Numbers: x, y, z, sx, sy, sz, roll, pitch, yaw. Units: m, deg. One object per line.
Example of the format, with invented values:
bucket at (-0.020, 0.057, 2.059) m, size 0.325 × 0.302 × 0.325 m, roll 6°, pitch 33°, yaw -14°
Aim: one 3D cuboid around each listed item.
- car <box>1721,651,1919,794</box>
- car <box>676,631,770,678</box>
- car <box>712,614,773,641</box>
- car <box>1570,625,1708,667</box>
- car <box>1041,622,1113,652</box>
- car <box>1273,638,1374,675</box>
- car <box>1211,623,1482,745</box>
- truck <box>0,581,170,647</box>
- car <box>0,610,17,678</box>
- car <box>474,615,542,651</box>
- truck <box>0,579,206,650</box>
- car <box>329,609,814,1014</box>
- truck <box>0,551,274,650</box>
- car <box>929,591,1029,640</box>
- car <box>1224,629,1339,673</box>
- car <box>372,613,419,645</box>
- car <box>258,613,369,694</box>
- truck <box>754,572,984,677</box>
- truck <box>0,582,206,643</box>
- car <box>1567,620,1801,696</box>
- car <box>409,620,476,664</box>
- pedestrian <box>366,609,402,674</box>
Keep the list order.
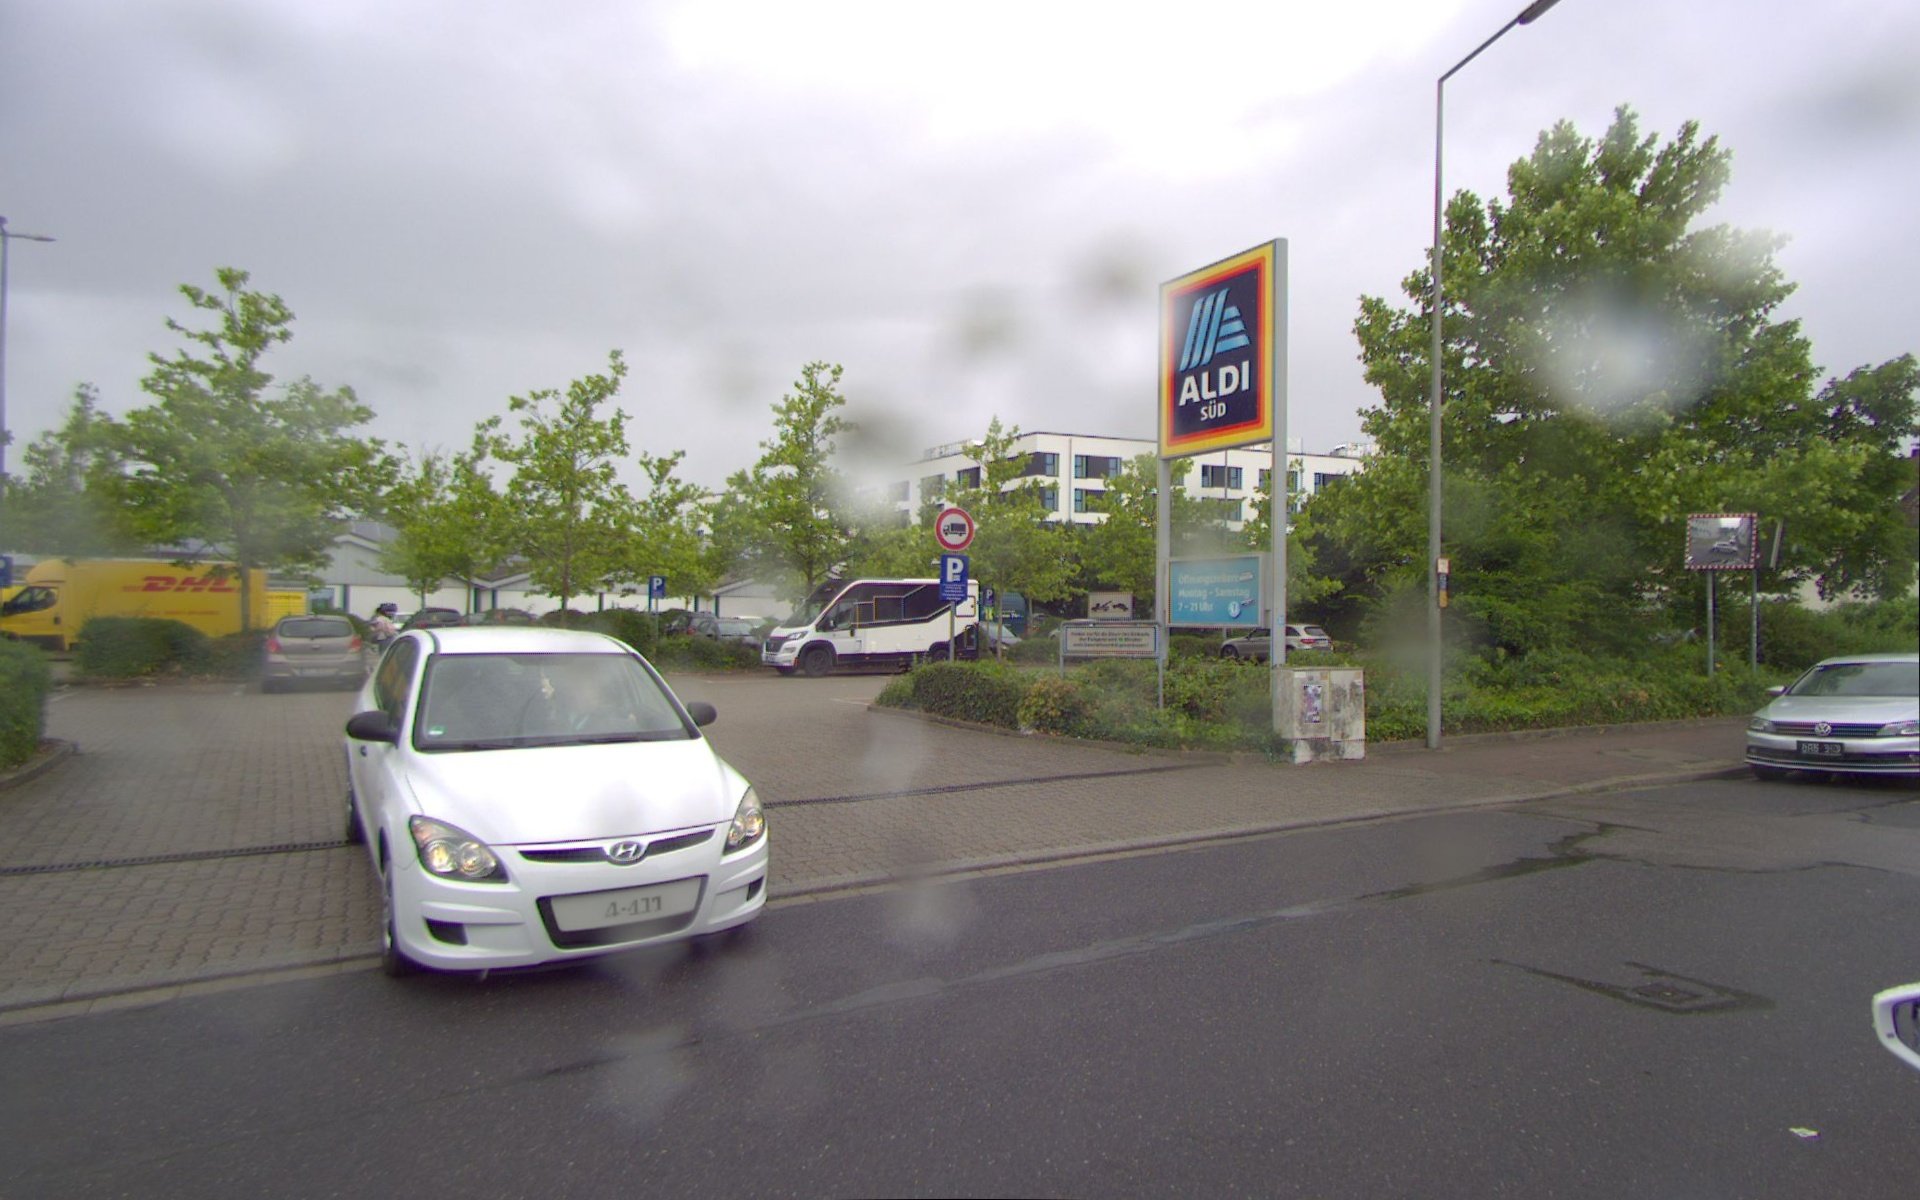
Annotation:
car at (10.949, 1.305, 11.787) m, size 4.550 × 1.385 × 1.697 m, roll 1°, pitch -4°, yaw -32°
car at (-7.529, 1.668, 31.632) m, size 1.738 × 1.320 × 3.966 m, roll 1°, pitch -1°, yaw -31°
car at (-11.372, 1.429, 52.353) m, size 1.977 × 1.363 × 3.966 m, roll 1°, pitch -1°, yaw -31°
car at (26.141, 1.735, 38.796) m, size 1.976 × 1.519 × 3.968 m, roll 1°, pitch -1°, yaw -30°
car at (6.509, 2.049, 56.100) m, size 1.977 × 1.549 × 3.966 m, roll 1°, pitch -1°, yaw -31°
car at (16.436, 2.528, 45.540) m, size 1.977 × 1.549 × 3.966 m, roll 1°, pitch -1°, yaw -31°
car at (5.753, 1.177, 15.330) m, size 1.693 × 1.479 × 3.550 m, roll 2°, pitch 0°, yaw -31°
truck at (-29.981, 0.476, 33.100) m, size 6.076 × 2.087 × 1.980 m, roll 2°, pitch -2°, yaw -36°
car at (-20.473, 0.892, 19.708) m, size 1.977 × 1.439 × 3.968 m, roll 1°, pitch -1°, yaw -30°
car at (-17.798, 1.271, 39.466) m, size 1.977 × 1.363 × 3.966 m, roll 1°, pitch -1°, yaw -31°
truck at (-27.539, 0.483, 31.548) m, size 6.076 × 2.122 × 1.980 m, roll 2°, pitch -1°, yaw -36°
car at (-2.603, 0.831, 5.989) m, size 1.696 × 1.479 × 4.161 m, roll 2°, pitch -1°, yaw -36°
truck at (-23.828, 0.085, 29.162) m, size 6.326 × 2.636 × 1.982 m, roll 2°, pitch -1°, yaw -33°
car at (0.993, 0.797, 50.447) m, size 4.762 × 2.327 × 1.982 m, roll 2°, pitch -1°, yaw -33°
car at (12.361, 1.932, 38.836) m, size 1.977 × 1.519 × 3.966 m, roll 1°, pitch -1°, yaw -31°
car at (-28.604, 1.455, 50.847) m, size 1.977 × 1.542 × 3.966 m, roll 1°, pitch -1°, yaw -31°
car at (-13.337, 1.039, 20.614) m, size 1.696 × 1.479 × 4.162 m, roll 2°, pitch -2°, yaw -36°
truck at (-2.458, 0.721, 28.419) m, size 6.332 × 2.692 × 1.981 m, roll 2°, pitch -1°, yaw -35°
truck at (-31.090, 0.492, 36.272) m, size 6.076 × 2.087 × 1.980 m, roll 2°, pitch -2°, yaw -36°
car at (16.493, 1.260, 23.055) m, size 1.890 × 1.561 × 3.965 m, roll 1°, pitch -1°, yaw -32°
car at (-19.451, 1.536, 37.663) m, size 1.977 × 1.542 × 3.966 m, roll 1°, pitch -1°, yaw -31°
pedestrian at (-14.921, 1.070, 25.996) m, size 0.761 × 1.656 × 0.771 m, roll 1°, pitch -1°, yaw -32°
